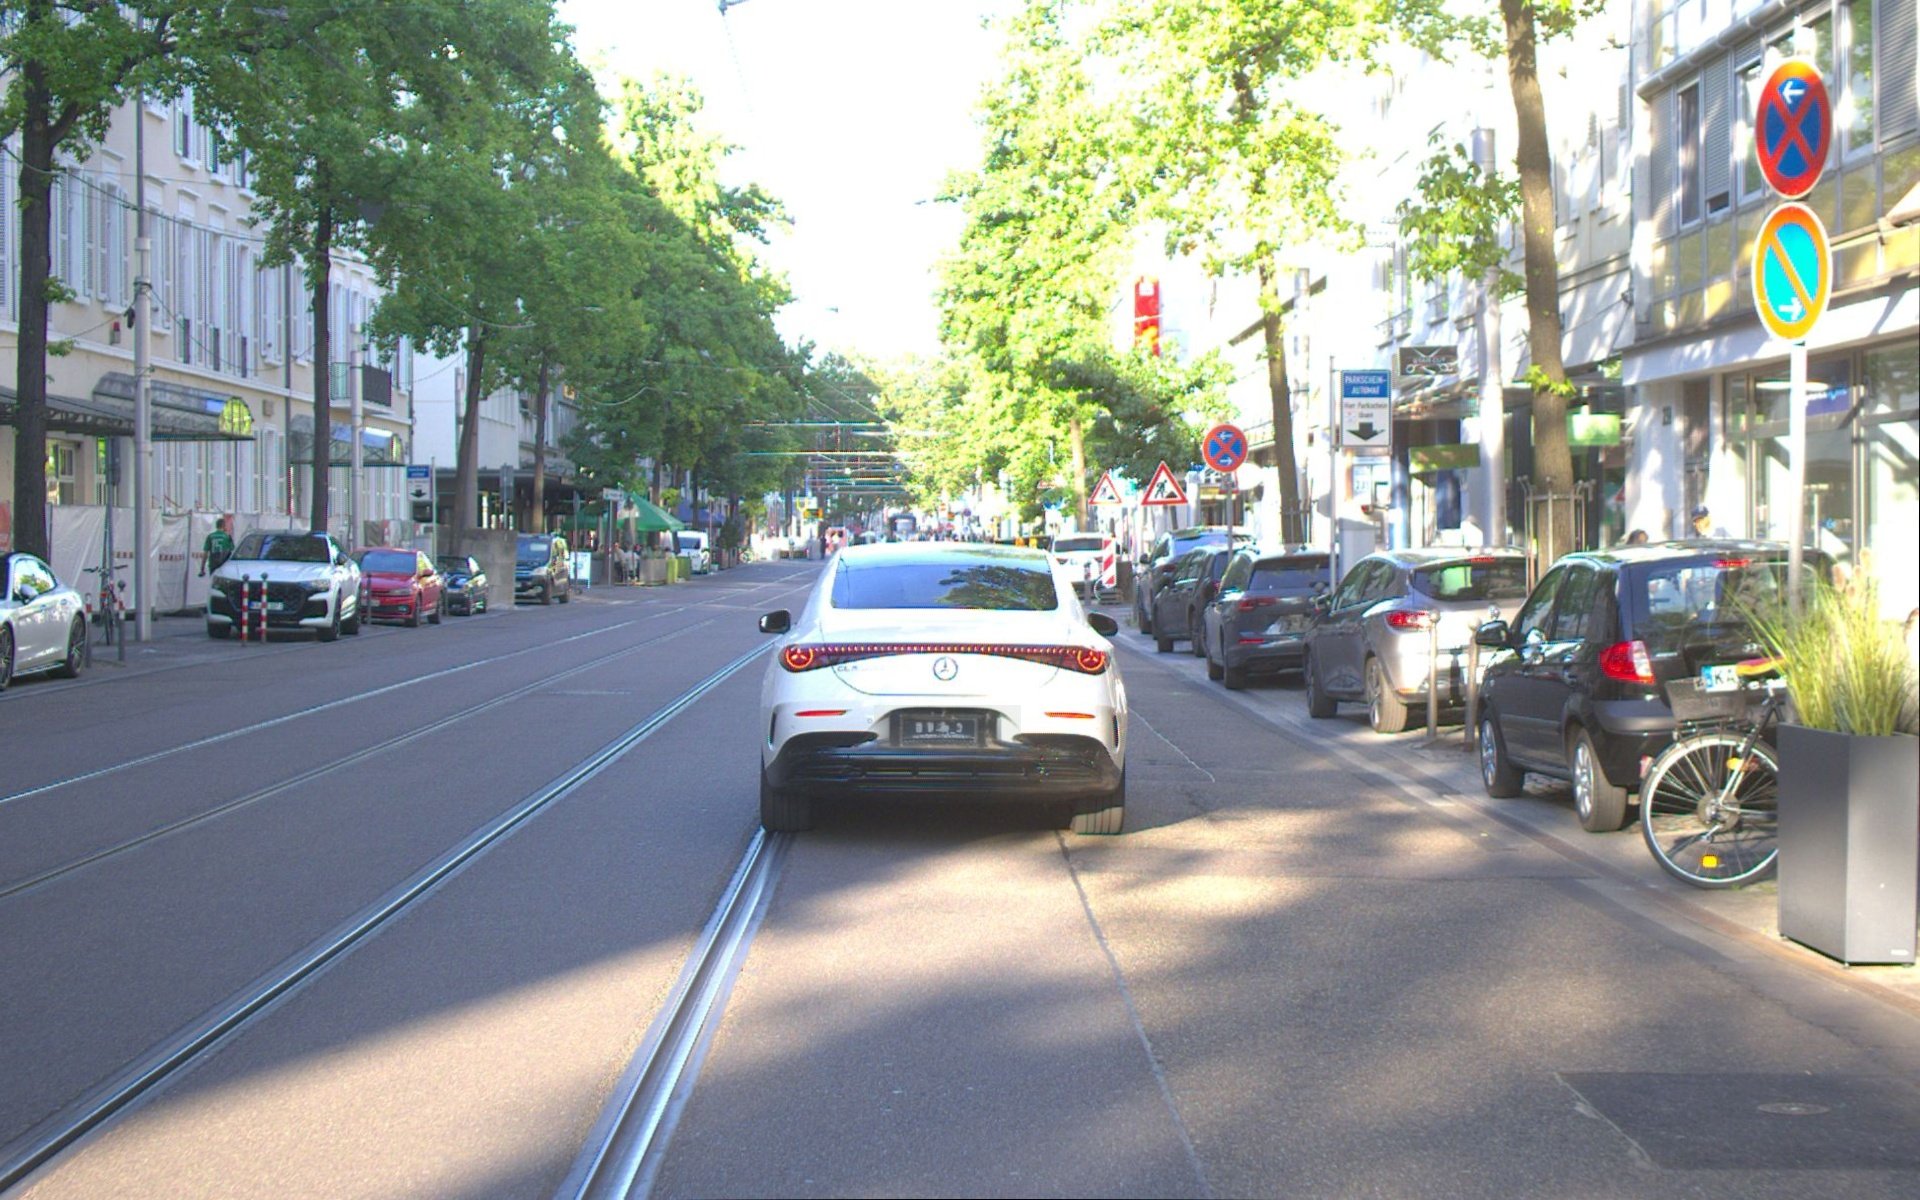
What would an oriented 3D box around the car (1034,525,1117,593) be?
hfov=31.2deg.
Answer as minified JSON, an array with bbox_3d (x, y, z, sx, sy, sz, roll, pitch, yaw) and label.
[{"bbox_3d":[3.011,-1.108,90.639,1.993,1.722,4.241,-1,1,0],"label":"car"}]

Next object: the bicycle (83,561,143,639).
[{"bbox_3d":[-11.938,-0.015,48.479,0.593,1.047,2.009,-1,1,-8],"label":"bicycle"}]

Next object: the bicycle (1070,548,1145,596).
[{"bbox_3d":[3.421,-0.651,79.677,1.723,1.058,0.581,-1,1,3],"label":"bicycle"}]

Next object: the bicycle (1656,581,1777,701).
[{"bbox_3d":[7.169,0.372,32.663,0.647,1.070,1.861,-2,1,-2],"label":"bicycle"}]

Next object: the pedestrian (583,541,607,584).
[{"bbox_3d":[-12.375,-1.276,116.435,0.569,1.459,0.649,0,1,19],"label":"pedestrian"}]

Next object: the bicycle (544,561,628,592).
[{"bbox_3d":[-10.473,-0.656,96.298,2.255,0.827,0.716,0,1,22],"label":"bicycle"}]

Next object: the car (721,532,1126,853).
[{"bbox_3d":[-0.193,0.422,18.213,1.868,1.464,4.042,2,0,-1],"label":"car"}]

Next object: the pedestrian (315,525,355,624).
[{"bbox_3d":[-12.790,-0.530,70.396,0.707,1.997,0.675,-1,1,-4],"label":"pedestrian"}]

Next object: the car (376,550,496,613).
[{"bbox_3d":[-11.202,-0.415,73.749,1.993,1.287,4.000,0,1,-1],"label":"car"}]

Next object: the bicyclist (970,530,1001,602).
[{"bbox_3d":[0.605,-0.817,82.304,0.724,1.697,0.811,-1,1,0],"label":"bicyclist"}]

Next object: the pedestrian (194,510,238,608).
[{"bbox_3d":[-13.874,-0.770,64.124,0.707,1.800,0.676,-1,1,-6],"label":"pedestrian"}]

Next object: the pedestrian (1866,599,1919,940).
[{"bbox_3d":[3.932,0.632,13.110,0.817,1.261,0.586,-1,1,5],"label":"pedestrian"}]

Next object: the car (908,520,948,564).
[{"bbox_3d":[-1.879,-3.363,201.195,1.993,2.532,4.001,-1,1,-5],"label":"car"}]

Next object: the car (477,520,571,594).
[{"bbox_3d":[-10.987,-1.099,86.719,1.553,1.789,3.166,-1,1,8],"label":"car"}]

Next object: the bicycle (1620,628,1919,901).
[{"bbox_3d":[3.826,0.713,15.054,1.728,1.135,0.546,-2,0,20],"label":"bicycle"}]

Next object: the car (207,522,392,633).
[{"bbox_3d":[-10.515,-0.379,55.083,1.962,1.686,5.013,0,1,0],"label":"car"}]

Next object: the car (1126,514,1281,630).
[{"bbox_3d":[3.766,-0.478,53.886,1.993,1.707,4.867,-1,1,-1],"label":"car"}]

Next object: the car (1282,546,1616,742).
[{"bbox_3d":[3.939,0.308,28.325,1.814,1.481,4.001,0,1,-6],"label":"car"}]

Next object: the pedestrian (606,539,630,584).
[{"bbox_3d":[-11.742,-1.320,117.929,0.517,1.473,0.650,-4,0,-28],"label":"pedestrian"}]

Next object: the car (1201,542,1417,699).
[{"bbox_3d":[3.600,0.168,36.086,1.871,1.448,4.106,-3,1,1],"label":"car"}]

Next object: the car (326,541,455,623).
[{"bbox_3d":[-10.735,-0.354,65.070,1.688,1.494,4.234,0,1,0],"label":"car"}]

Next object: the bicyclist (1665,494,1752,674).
[{"bbox_3d":[7.137,-0.157,32.792,0.638,1.678,0.600,-2,1,-2],"label":"bicyclist"}]

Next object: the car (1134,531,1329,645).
[{"bbox_3d":[3.604,-0.189,46.266,1.837,1.431,4.001,-1,1,-7],"label":"car"}]

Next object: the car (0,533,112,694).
[{"bbox_3d":[-10.672,0.107,36.722,1.946,1.634,4.909,0,1,1],"label":"car"}]

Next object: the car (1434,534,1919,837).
[{"bbox_3d":[3.923,0.408,19.242,1.800,1.453,3.655,-2,1,-3],"label":"car"}]

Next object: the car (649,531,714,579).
[{"bbox_3d":[-12.113,-1.965,149.569,1.994,2.007,3.999,-1,1,8],"label":"car"}]

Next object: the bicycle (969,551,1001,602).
[{"bbox_3d":[0.605,-0.570,82.495,0.740,1.184,2.160,-1,1,0],"label":"bicycle"}]

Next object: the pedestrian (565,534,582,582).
[{"bbox_3d":[-13.607,-1.481,121.120,0.517,1.647,0.650,-1,1,0],"label":"pedestrian"}]
